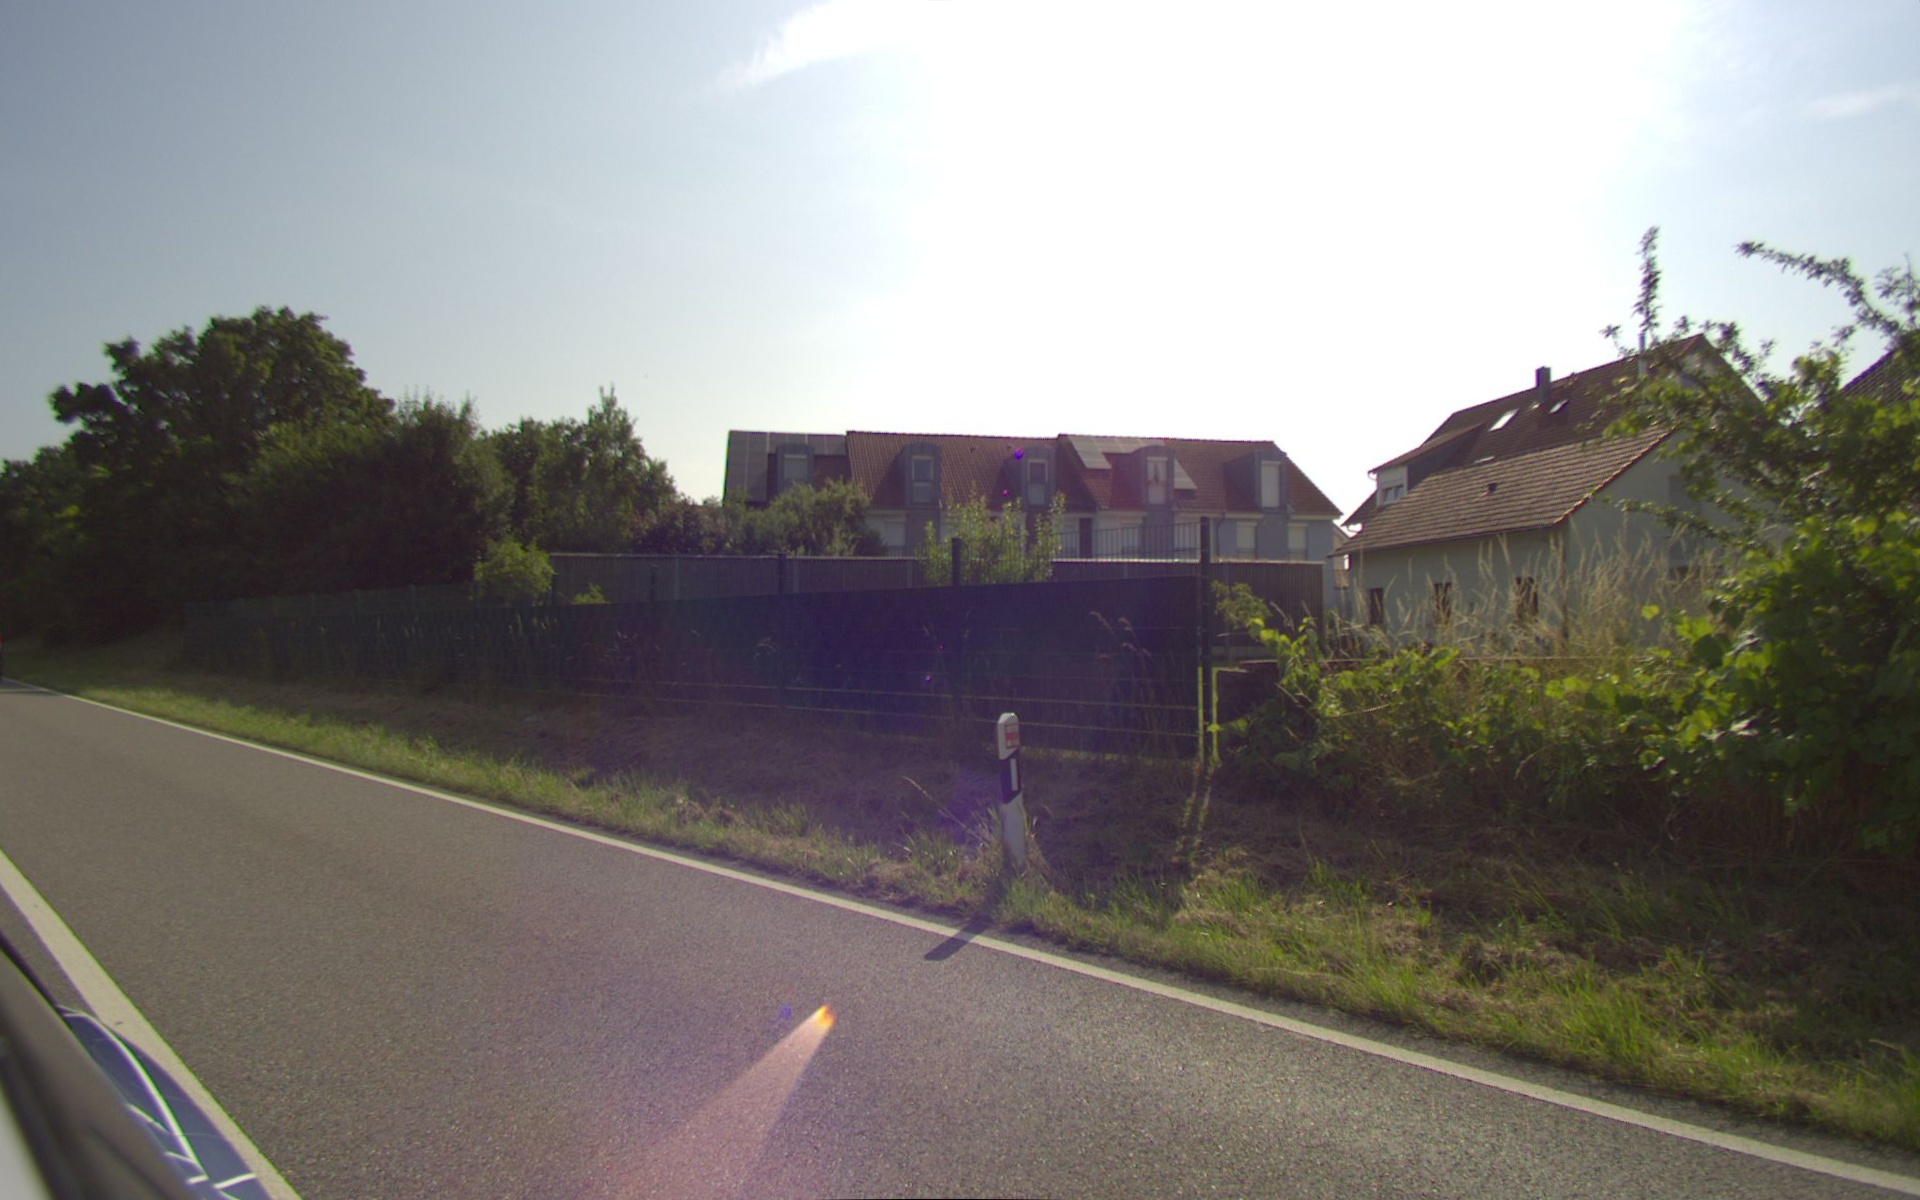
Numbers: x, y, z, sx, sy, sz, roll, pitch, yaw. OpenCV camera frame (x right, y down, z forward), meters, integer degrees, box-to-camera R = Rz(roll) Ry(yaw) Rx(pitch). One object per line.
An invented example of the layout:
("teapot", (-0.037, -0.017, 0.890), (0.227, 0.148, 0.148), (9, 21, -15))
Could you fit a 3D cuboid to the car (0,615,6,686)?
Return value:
("car", (-26.789, 1.298, 26.786), (4.242, 1.831, 1.918), (-2, -4, 43))
